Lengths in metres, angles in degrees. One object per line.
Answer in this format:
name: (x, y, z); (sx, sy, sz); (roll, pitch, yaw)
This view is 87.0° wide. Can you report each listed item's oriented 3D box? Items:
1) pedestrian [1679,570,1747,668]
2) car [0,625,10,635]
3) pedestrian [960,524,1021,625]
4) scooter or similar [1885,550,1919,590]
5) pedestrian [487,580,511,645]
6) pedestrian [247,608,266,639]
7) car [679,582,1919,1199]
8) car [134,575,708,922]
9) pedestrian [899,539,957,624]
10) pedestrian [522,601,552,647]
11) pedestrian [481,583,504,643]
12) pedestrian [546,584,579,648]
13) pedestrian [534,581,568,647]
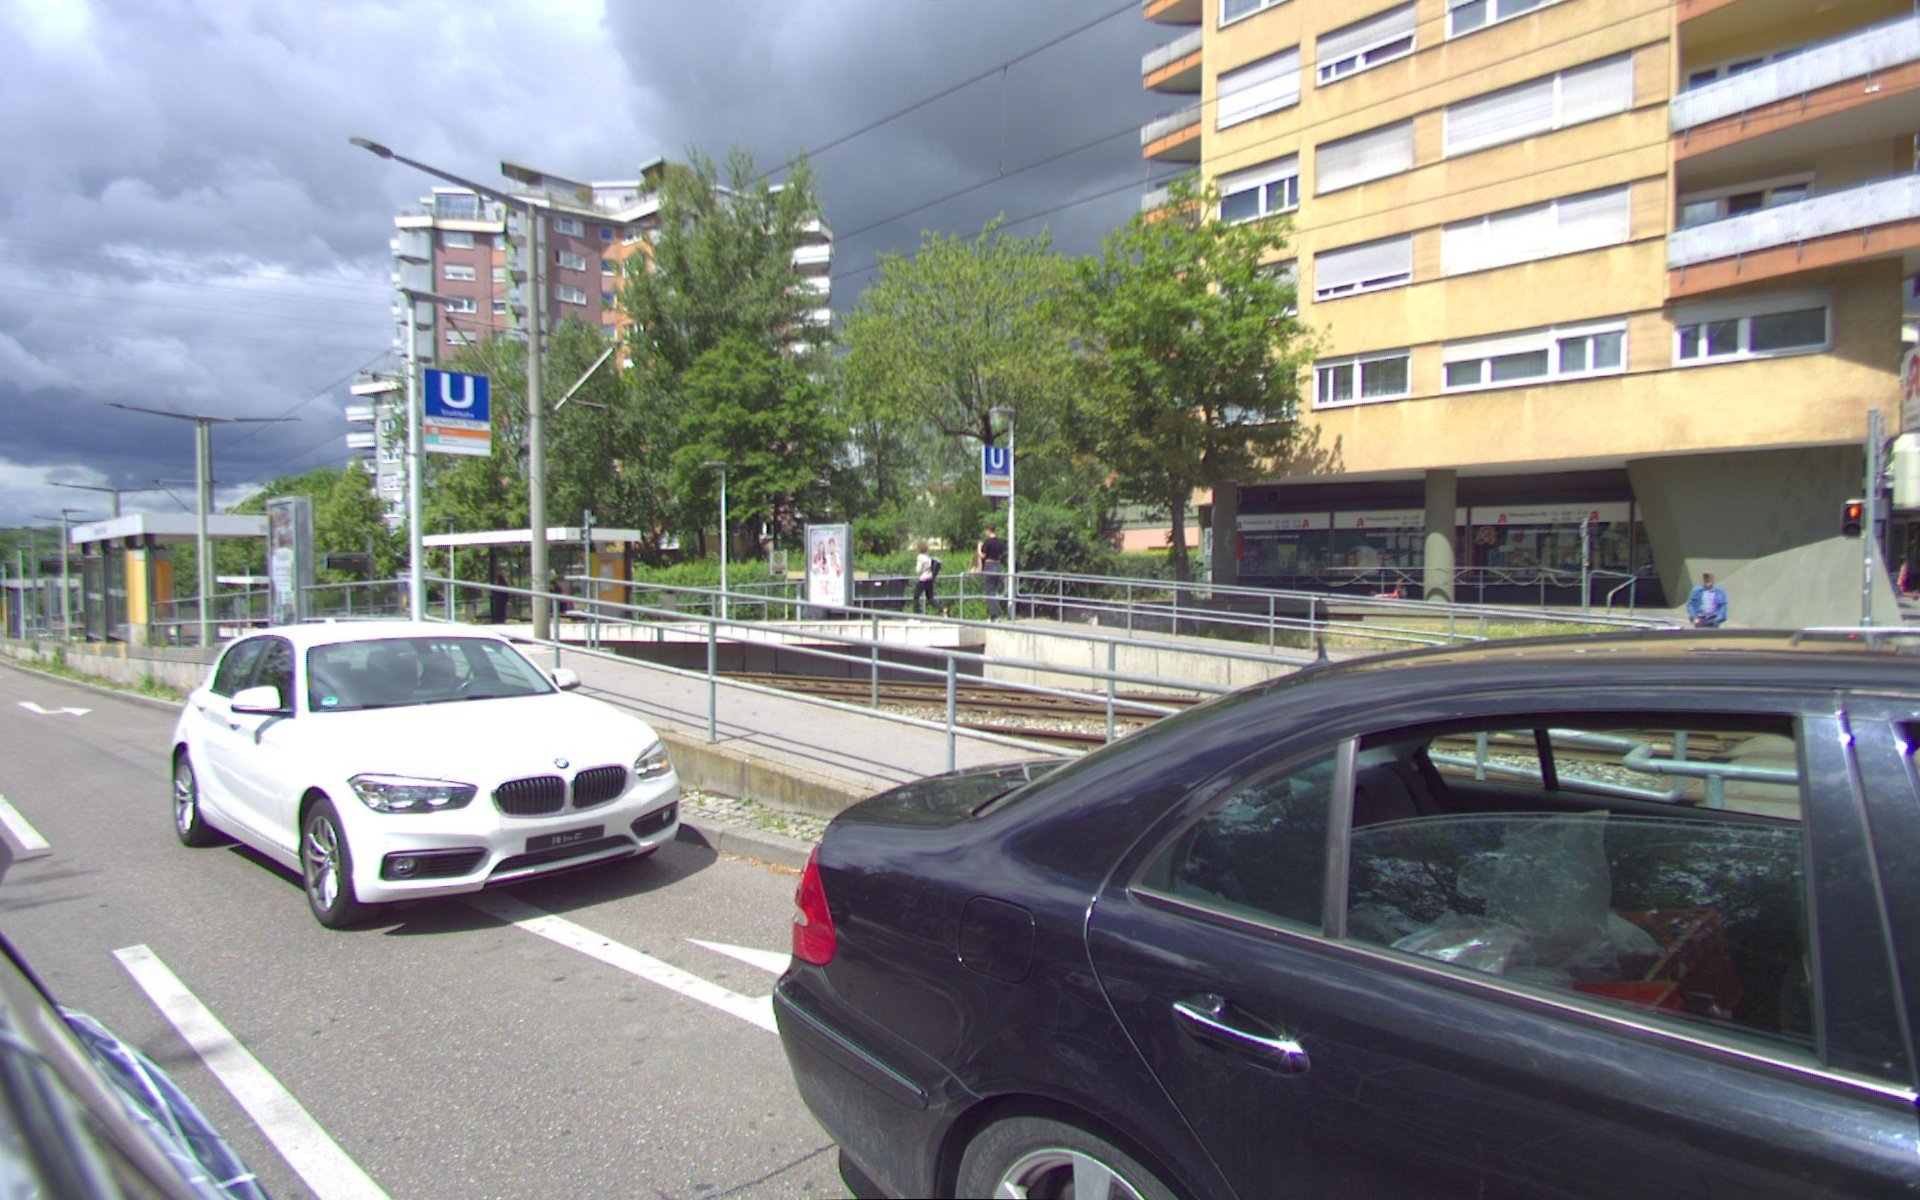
pedestrian: (13.039, 0.322, 17.542); (0.909, 1.609, 0.712); (-1, 5, 37)
car: (-124.654, 3.841, 131.376); (4.023, 1.224, 1.781); (-1, 0, 45)
pedestrian: (0.558, -0.455, 18.599); (0.747, 1.787, 0.854); (-1, 0, 40)
scooter or similar: (26.378, -0.824, 28.303); (0.544, 1.102, 1.731); (-1, 0, 36)
pedestrian: (-15.487, 0.406, 33.971); (0.608, 2.157, 0.525); (-1, 0, 44)
pedestrian: (-39.689, 1.335, 57.103); (0.763, 1.718, 0.767); (-1, 0, -41)
car: (1.732, 0.676, 1.501); (4.674, 1.409, 1.950); (-1, 0, 42)
car: (-3.599, 0.737, 6.366); (4.273, 1.462, 1.771); (-4, -3, 41)
pedestrian: (-0.622, -0.355, 19.809); (0.747, 1.618, 0.854); (-1, 0, 40)
pedestrian: (-13.543, 0.761, 32.415); (0.658, 1.425, 0.637); (-1, 0, 41)
pedestrian: (-15.996, 0.455, 34.630); (0.557, 2.029, 0.510); (-1, 0, 41)
pedestrian: (-12.105, 0.479, 30.815); (0.572, 1.946, 0.761); (-1, 0, 39)
pedestrian: (-12.748, 0.435, 31.554); (0.584, 2.029, 0.770); (-1, 0, 41)
